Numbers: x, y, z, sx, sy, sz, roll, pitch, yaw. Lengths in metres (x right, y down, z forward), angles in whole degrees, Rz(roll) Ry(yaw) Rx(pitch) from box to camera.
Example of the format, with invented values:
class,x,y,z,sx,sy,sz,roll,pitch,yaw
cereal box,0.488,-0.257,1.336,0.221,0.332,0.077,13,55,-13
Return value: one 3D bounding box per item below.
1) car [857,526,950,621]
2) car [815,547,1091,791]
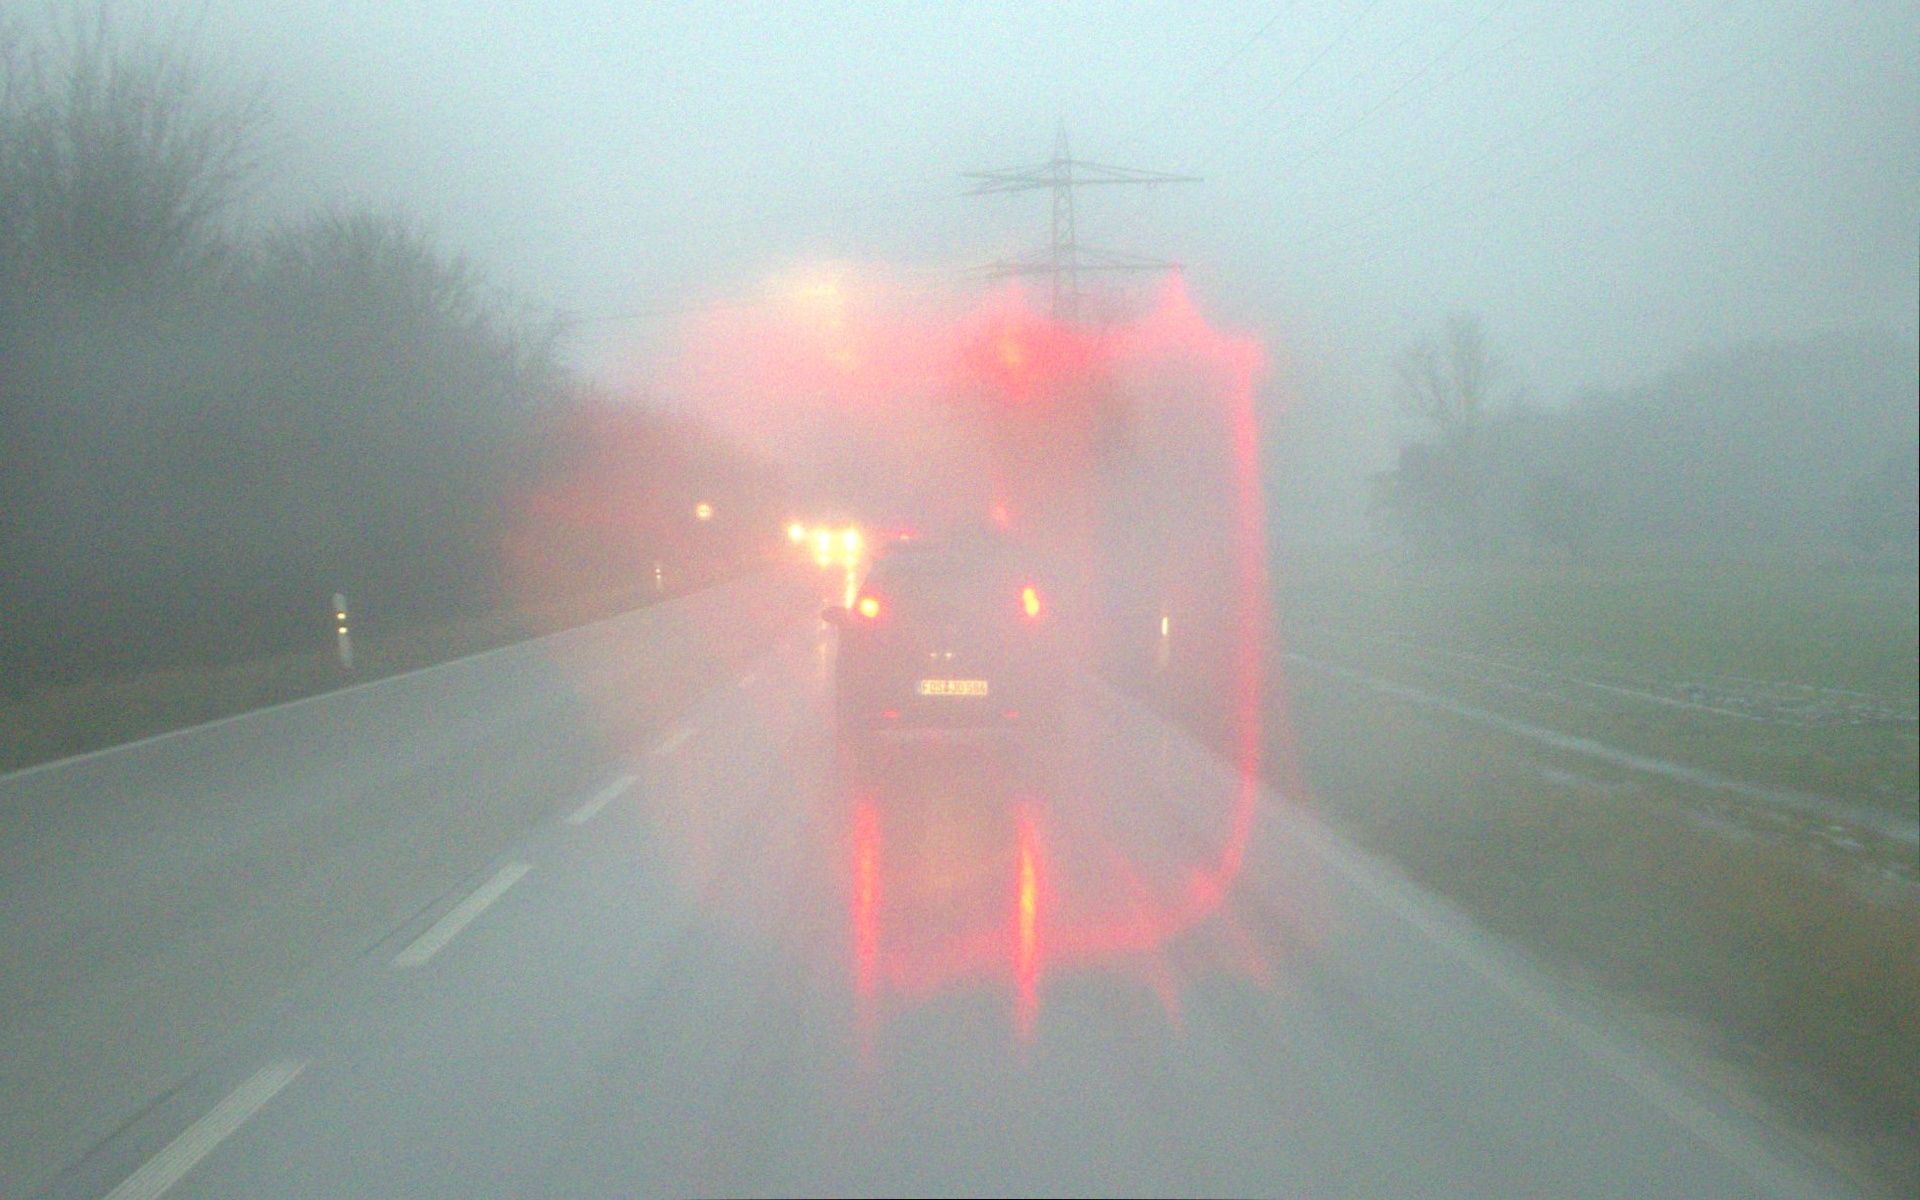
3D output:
class,x,y,z,sx,sy,sz,roll,pitch,yaw
car,-1.250,-0.634,77.557,1.993,2.006,4.001,1,2,0
car,-0.083,0.467,26.816,1.993,1.746,4.000,0,1,-1
